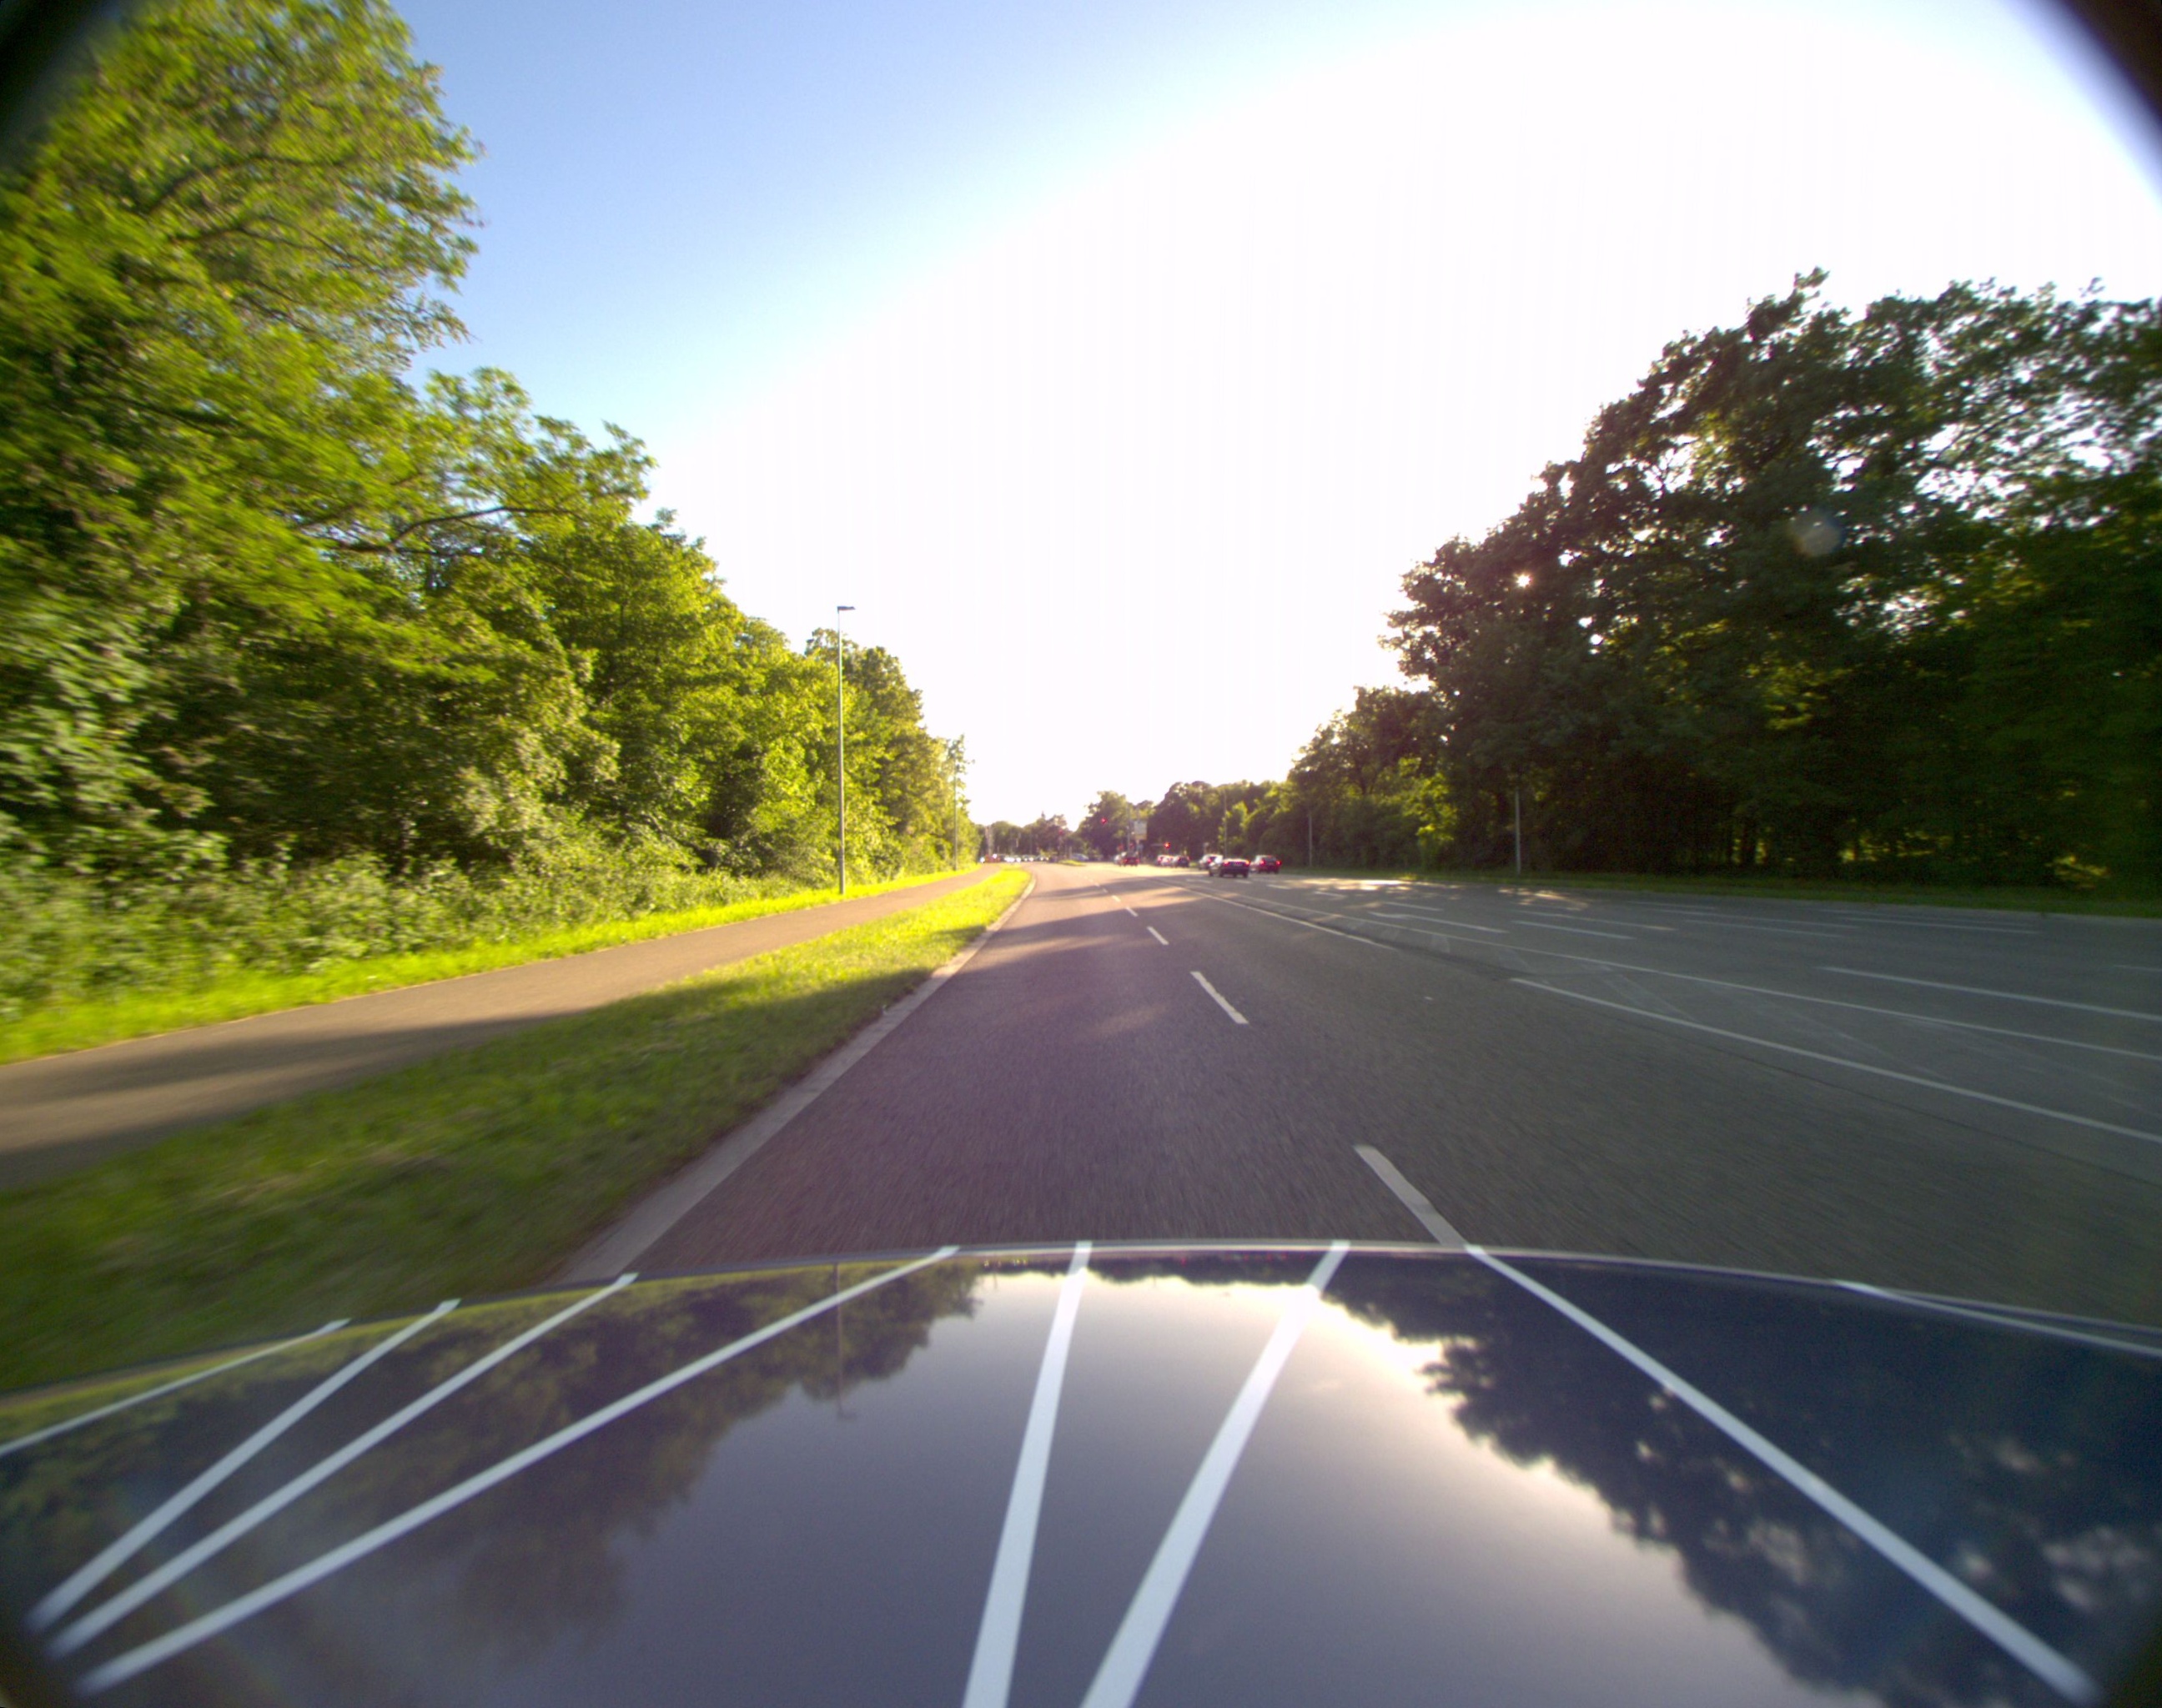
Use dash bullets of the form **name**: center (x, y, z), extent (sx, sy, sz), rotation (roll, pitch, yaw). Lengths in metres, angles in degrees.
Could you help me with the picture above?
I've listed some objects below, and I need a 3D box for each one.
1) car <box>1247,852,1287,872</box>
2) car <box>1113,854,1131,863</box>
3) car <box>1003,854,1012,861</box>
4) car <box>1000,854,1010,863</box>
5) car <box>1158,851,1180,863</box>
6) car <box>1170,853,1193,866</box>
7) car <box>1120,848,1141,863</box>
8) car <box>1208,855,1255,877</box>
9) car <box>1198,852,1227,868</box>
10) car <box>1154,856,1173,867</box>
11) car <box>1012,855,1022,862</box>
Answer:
- **car**: center (15.128, 0.659, 61.973), extent (1.999, 1.555, 4.337), rotation (0, 0, -2)
- **car**: center (6.696, 0.691, 124.302), extent (2.000, 1.442, 4.838), rotation (1, 0, -9)
- **car**: center (-17.601, 0.761, 182.089), extent (2.000, 1.510, 3.996), rotation (-1, 1, -9)
- **car**: center (-17.276, 1.057, 173.468), extent (2.000, 2.057, 3.996), rotation (-1, 1, -9)
- **car**: center (12.013, 0.407, 103.931), extent (2.000, 1.555, 4.645), rotation (3, 0, -6)
- **car**: center (12.661, 0.647, 96.153), extent (1.999, 1.555, 4.646), rotation (2, 0, -4)
- **car**: center (6.515, 0.195, 100.378), extent (2.000, 1.950, 4.644), rotation (1, 0, -7)
- **car**: center (9.028, 0.693, 46.047), extent (1.749, 1.227, 4.672), rotation (0, 0, -2)
- **car**: center (14.177, 0.603, 81.989), extent (1.999, 1.627, 4.841), rotation (0, 0, -4)
- **car**: center (11.993, 1.070, 110.622), extent (1.999, 1.555, 4.646), rotation (2, 0, -4)
- **car**: center (-14.720, 0.978, 175.021), extent (2.000, 1.510, 3.996), rotation (-1, 1, -9)
